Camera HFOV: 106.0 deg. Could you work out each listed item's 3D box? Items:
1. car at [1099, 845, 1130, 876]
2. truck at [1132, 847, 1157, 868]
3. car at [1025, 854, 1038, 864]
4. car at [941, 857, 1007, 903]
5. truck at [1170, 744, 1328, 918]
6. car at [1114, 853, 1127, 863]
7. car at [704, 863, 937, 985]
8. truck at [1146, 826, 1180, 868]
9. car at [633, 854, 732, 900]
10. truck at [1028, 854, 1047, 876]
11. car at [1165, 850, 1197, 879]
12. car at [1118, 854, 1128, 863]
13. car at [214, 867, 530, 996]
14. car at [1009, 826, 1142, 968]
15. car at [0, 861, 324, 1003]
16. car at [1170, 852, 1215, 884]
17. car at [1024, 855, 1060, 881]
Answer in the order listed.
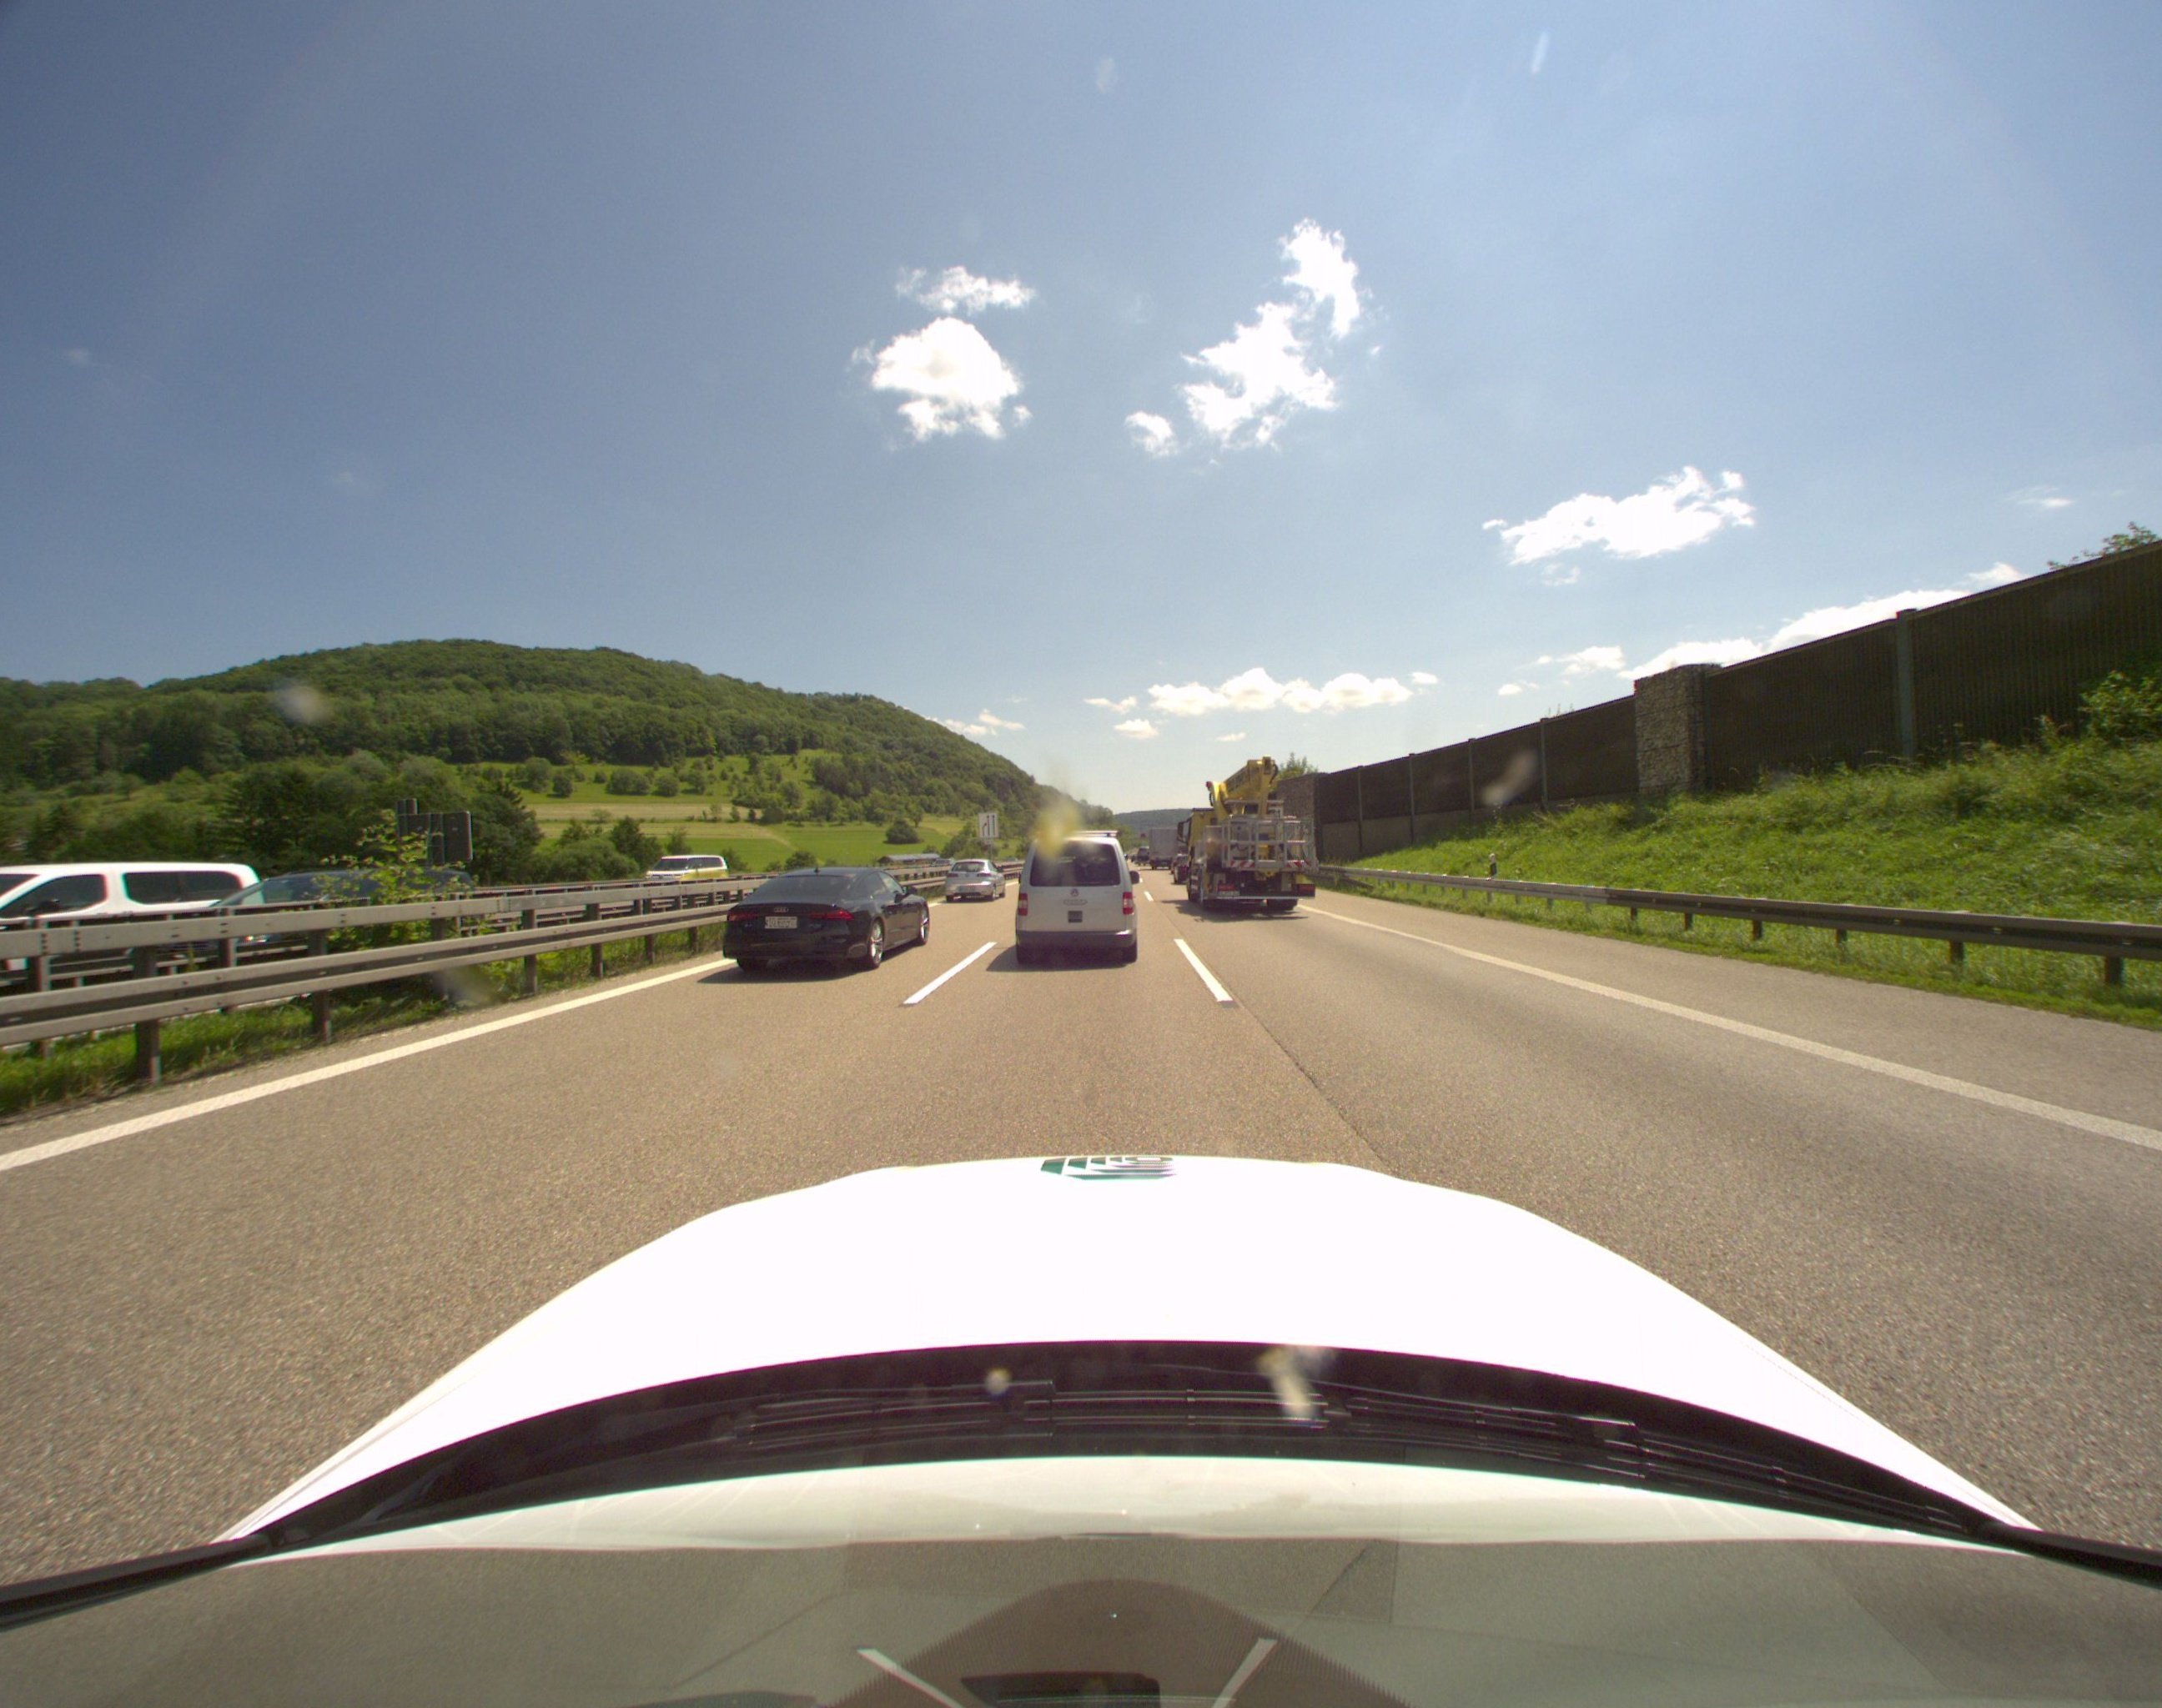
[{"bbox_3d":[2.277,0.420,55.811,1.987,1.975,4.000,-1,0,1],"label":"car"},{"bbox_3d":[8.068,0.431,102.583,2.374,2.541,5.958,-1,0,12],"label":"truck"},{"bbox_3d":[-8.170,0.881,135.613,1.843,1.609,4.079,-1,0,1],"label":"car"},{"bbox_3d":[-3.656,0.848,28.410,1.690,1.445,3.862,-1,0,1],"label":"car"},{"bbox_3d":[4.334,-0.524,23.035,2.694,3.942,8.722,-1,0,1],"label":"truck"},{"bbox_3d":[7.207,0.757,148.982,2.107,1.828,4.000,0,-1,0],"label":"car"},{"bbox_3d":[-3.609,0.875,12.374,1.794,1.390,4.970,-1,0,1],"label":"car"},{"bbox_3d":[7.875,-0.616,78.777,2.928,3.823,8.244,0,-1,4],"label":"truck"},{"bbox_3d":[-18.013,0.979,37.085,2.052,1.941,4.662,-1,0,2],"label":"car"},{"bbox_3d":[-8.423,2.133,159.168,2.786,4.232,7.237,0,-1,3],"label":"truck"},{"bbox_3d":[7.407,0.742,60.681,1.986,2.013,4.002,-1,0,2],"label":"car"},{"bbox_3d":[8.708,0.911,168.862,1.986,1.805,4.001,0,-1,2],"label":"car"},{"bbox_3d":[-11.502,1.142,13.653,1.749,1.762,3.936,-1,0,2],"label":"car"},{"bbox_3d":[-0.044,0.578,12.953,1.750,1.868,4.000,-1,0,1],"label":"car"},{"bbox_3d":[-15.152,1.067,12.539,1.986,1.839,5.228,-1,0,2],"label":"car"},{"bbox_3d":[5.542,0.677,40.803,1.780,1.458,3.771,-1,0,1],"label":"car"},{"bbox_3d":[-2.348,0.838,49.850,1.918,1.499,4.000,-1,0,1],"label":"car"}]
